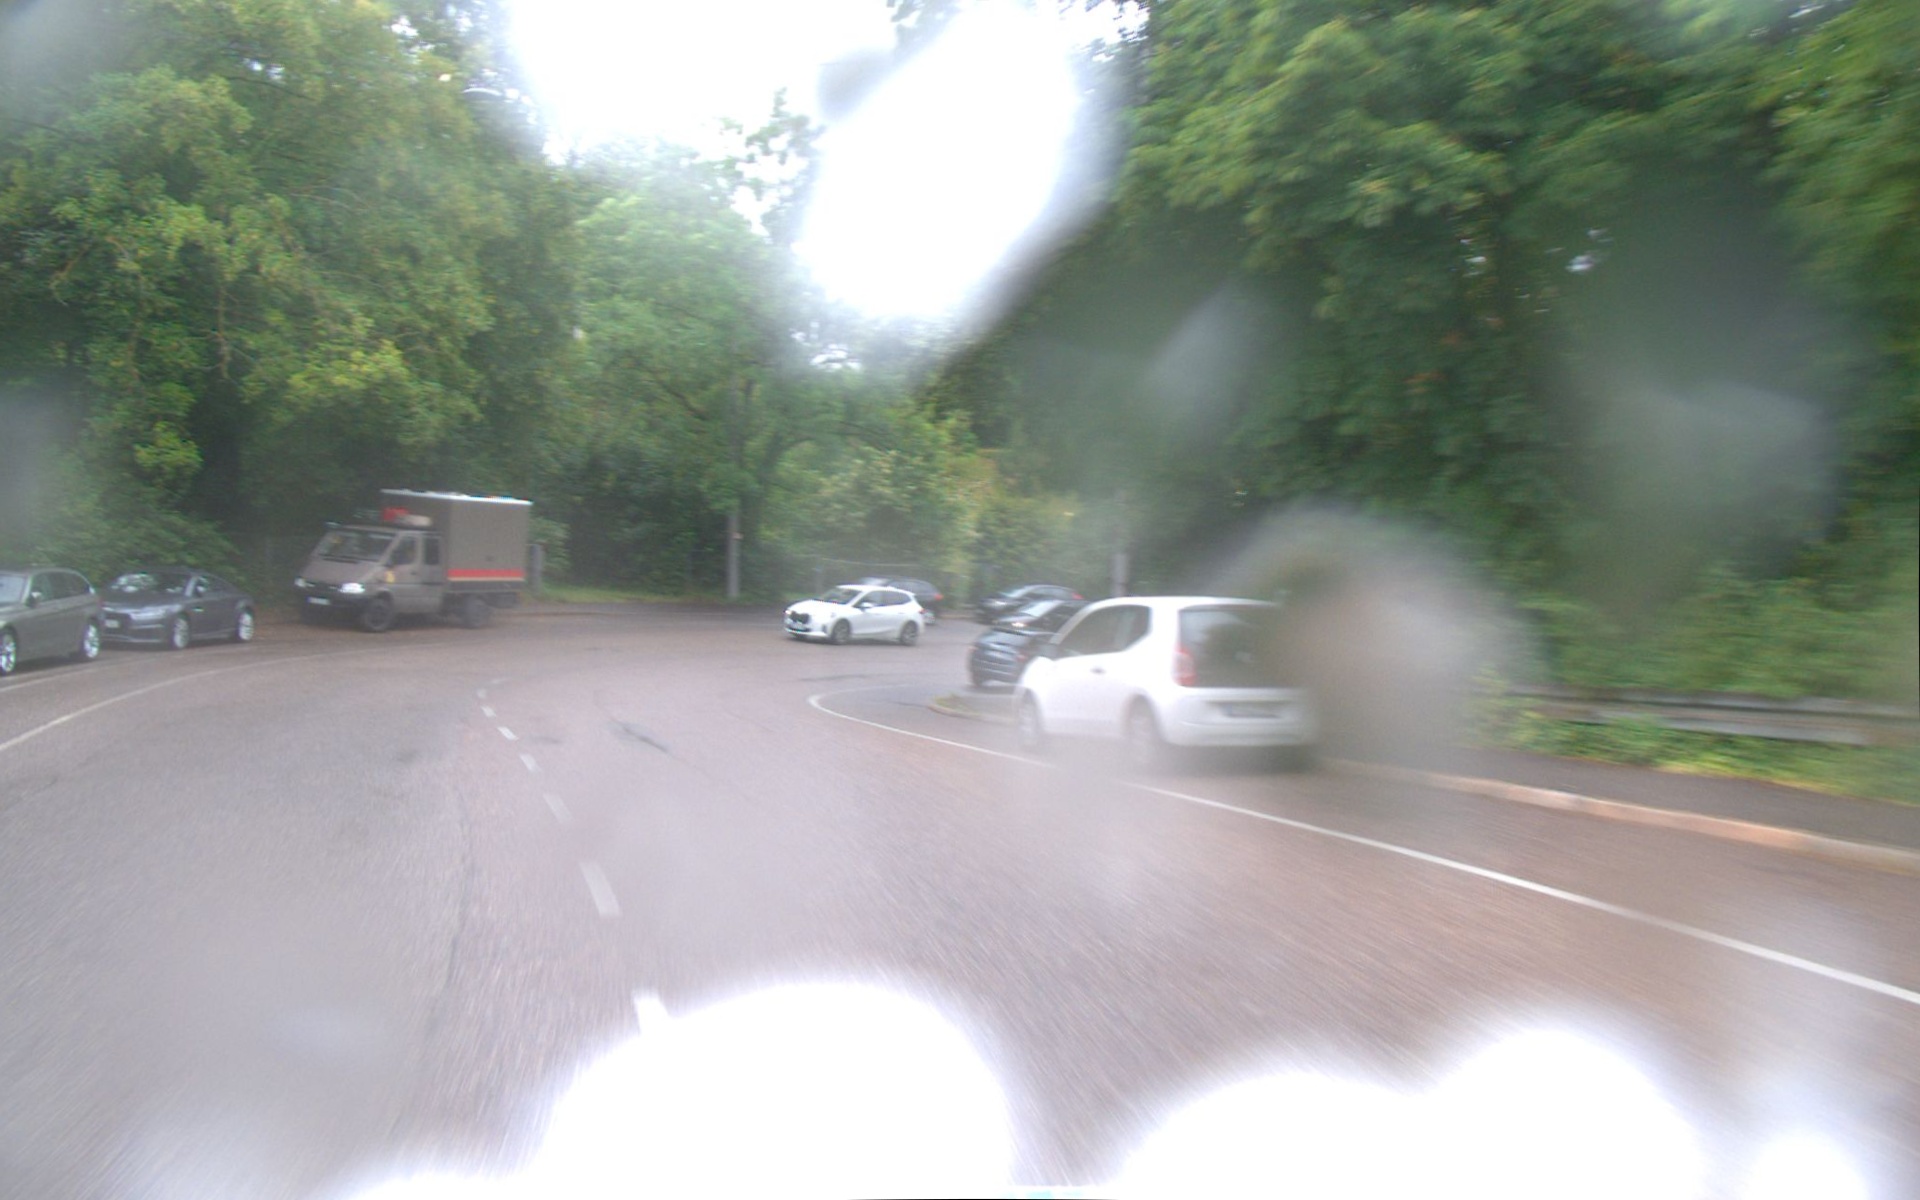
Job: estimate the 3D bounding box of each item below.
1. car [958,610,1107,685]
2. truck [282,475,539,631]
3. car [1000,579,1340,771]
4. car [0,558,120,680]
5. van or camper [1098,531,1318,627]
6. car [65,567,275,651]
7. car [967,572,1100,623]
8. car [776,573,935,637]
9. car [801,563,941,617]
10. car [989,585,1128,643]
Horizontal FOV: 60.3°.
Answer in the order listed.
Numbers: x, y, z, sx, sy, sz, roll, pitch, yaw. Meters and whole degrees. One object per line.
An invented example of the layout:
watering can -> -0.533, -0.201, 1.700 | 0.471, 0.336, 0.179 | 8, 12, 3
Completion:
car -> 1.752, 1.098, 38.805 | 1.621, 1.489, 4.022 | 8, 3, 32
truck -> -12.445, -1.023, 38.124 | 1.991, 3.156, 6.617 | 5, 2, 17
car -> 1.782, 0.618, 15.155 | 1.562, 1.528, 3.644 | 1, -1, -21
car -> -13.895, 0.214, 23.858 | 1.667, 1.524, 4.523 | 2, 2, -7
van or camper -> 9.009, -0.753, 60.095 | 7.510, 2.981, 2.195 | 2, 5, -15
car -> -14.030, 0.110, 29.653 | 1.664, 1.297, 4.247 | 2, 2, 0
car -> 2.569, -0.096, 57.533 | 4.244, 1.378, 1.747 | 3, 5, -25
car -> -2.872, 0.163, 46.362 | 1.773, 1.597, 4.428 | 4, 1, 42
car -> -2.871, -0.310, 53.827 | 4.272, 1.489, 1.760 | 1, 6, -40
car -> 3.083, 0.442, 51.654 | 4.036, 1.544, 1.746 | 3, 2, -34
